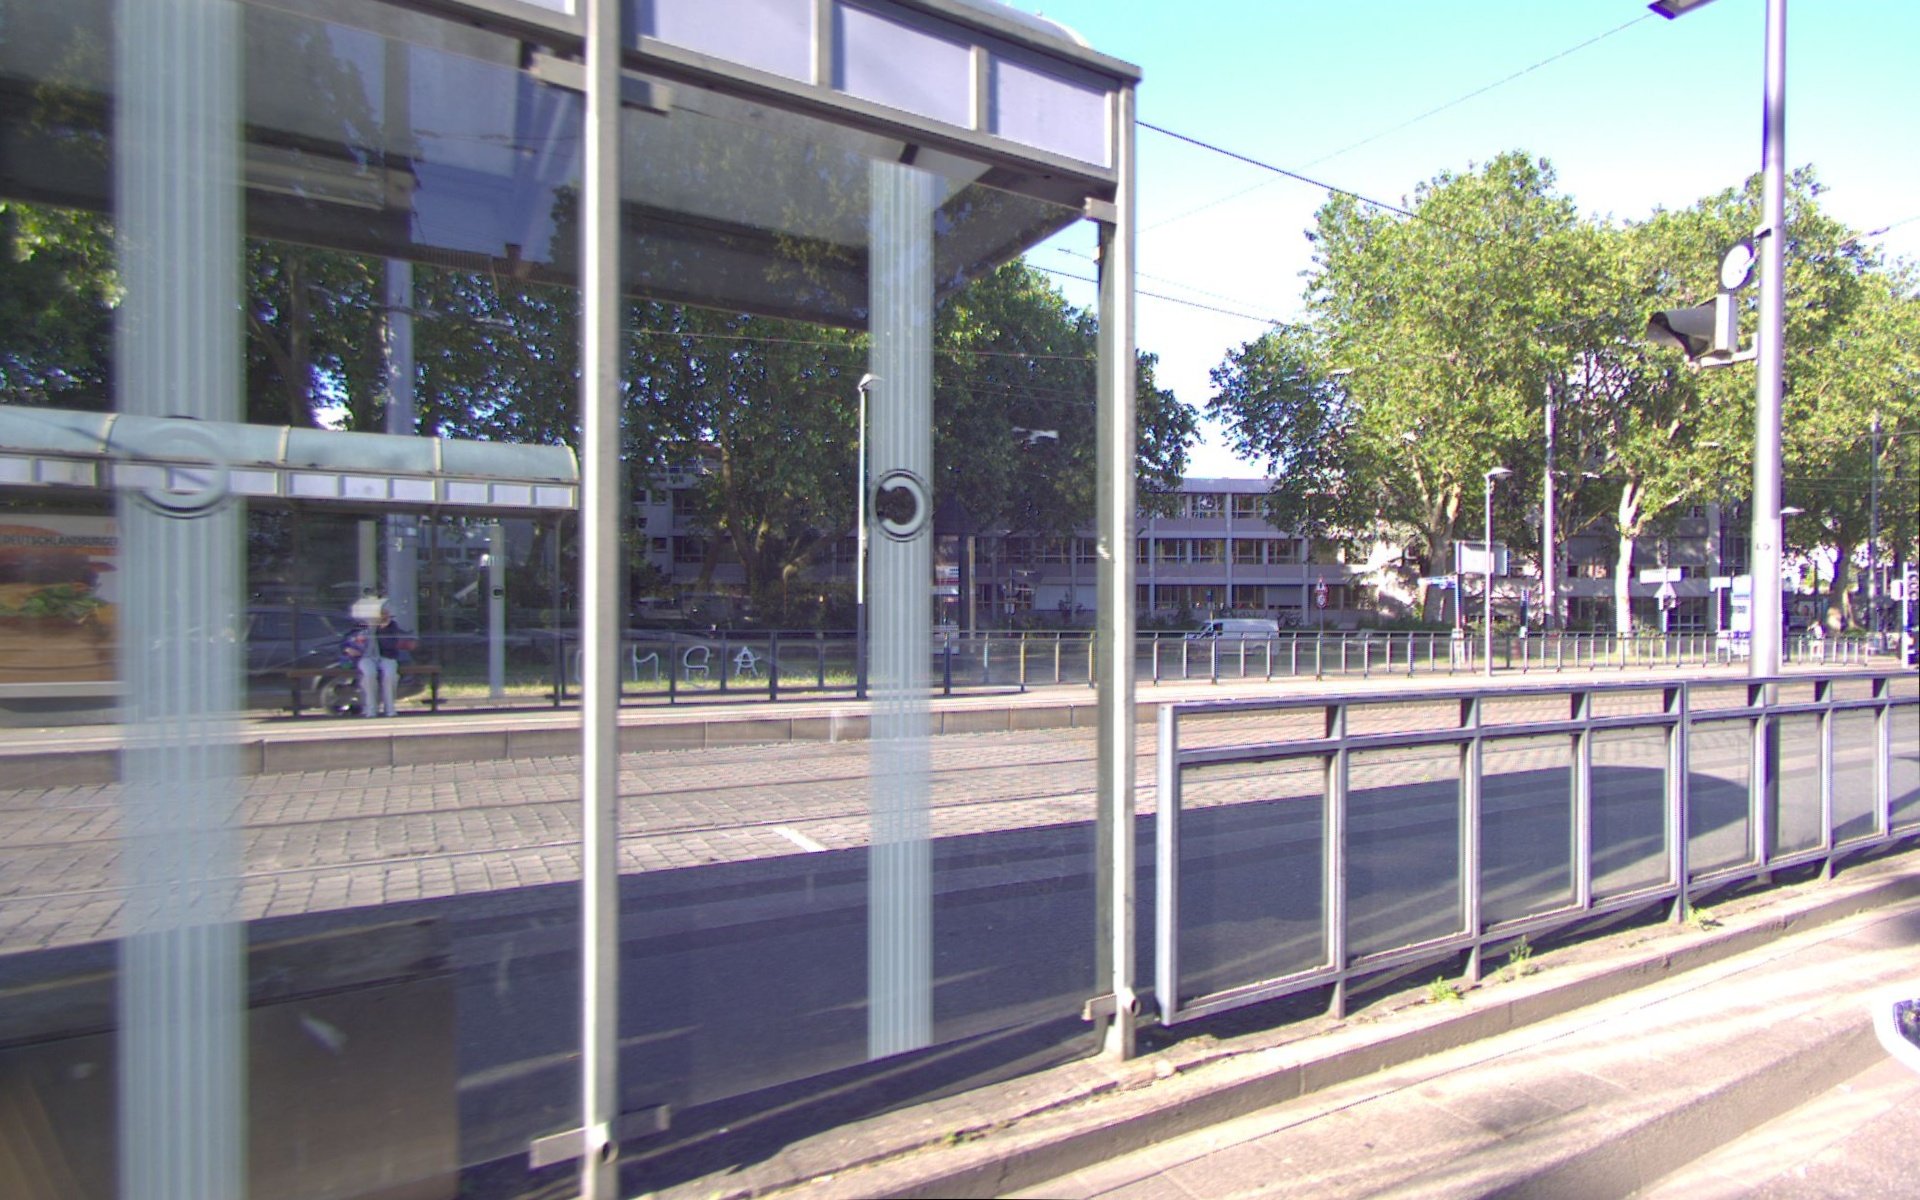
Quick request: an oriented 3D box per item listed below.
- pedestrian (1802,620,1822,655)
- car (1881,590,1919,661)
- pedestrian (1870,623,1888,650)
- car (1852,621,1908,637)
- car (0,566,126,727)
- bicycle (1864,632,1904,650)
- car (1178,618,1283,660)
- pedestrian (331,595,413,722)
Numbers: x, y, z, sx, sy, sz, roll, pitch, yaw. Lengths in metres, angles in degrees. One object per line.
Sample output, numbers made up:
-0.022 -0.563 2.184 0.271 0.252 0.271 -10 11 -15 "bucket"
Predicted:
39.175 1.721 46.185 0.669 1.572 0.533 1 0 -30 "pedestrian"
40.184 1.086 40.633 4.950 2.779 2.066 2 0 -17 "car"
58.388 2.330 63.820 0.642 1.683 0.645 1 0 -27 "pedestrian"
87.075 2.743 95.114 3.925 1.530 1.798 1 -1 -6 "car"
-14.674 0.617 13.472 5.033 2.152 2.056 2 -3 -32 "car"
58.848 2.616 63.985 0.494 1.122 1.788 1 -1 -27 "bicycle"
15.999 2.309 59.653 5.616 2.366 2.155 1 0 -7 "car"
-6.537 0.646 11.171 0.748 1.342 0.666 1 -3 -32 "pedestrian"
